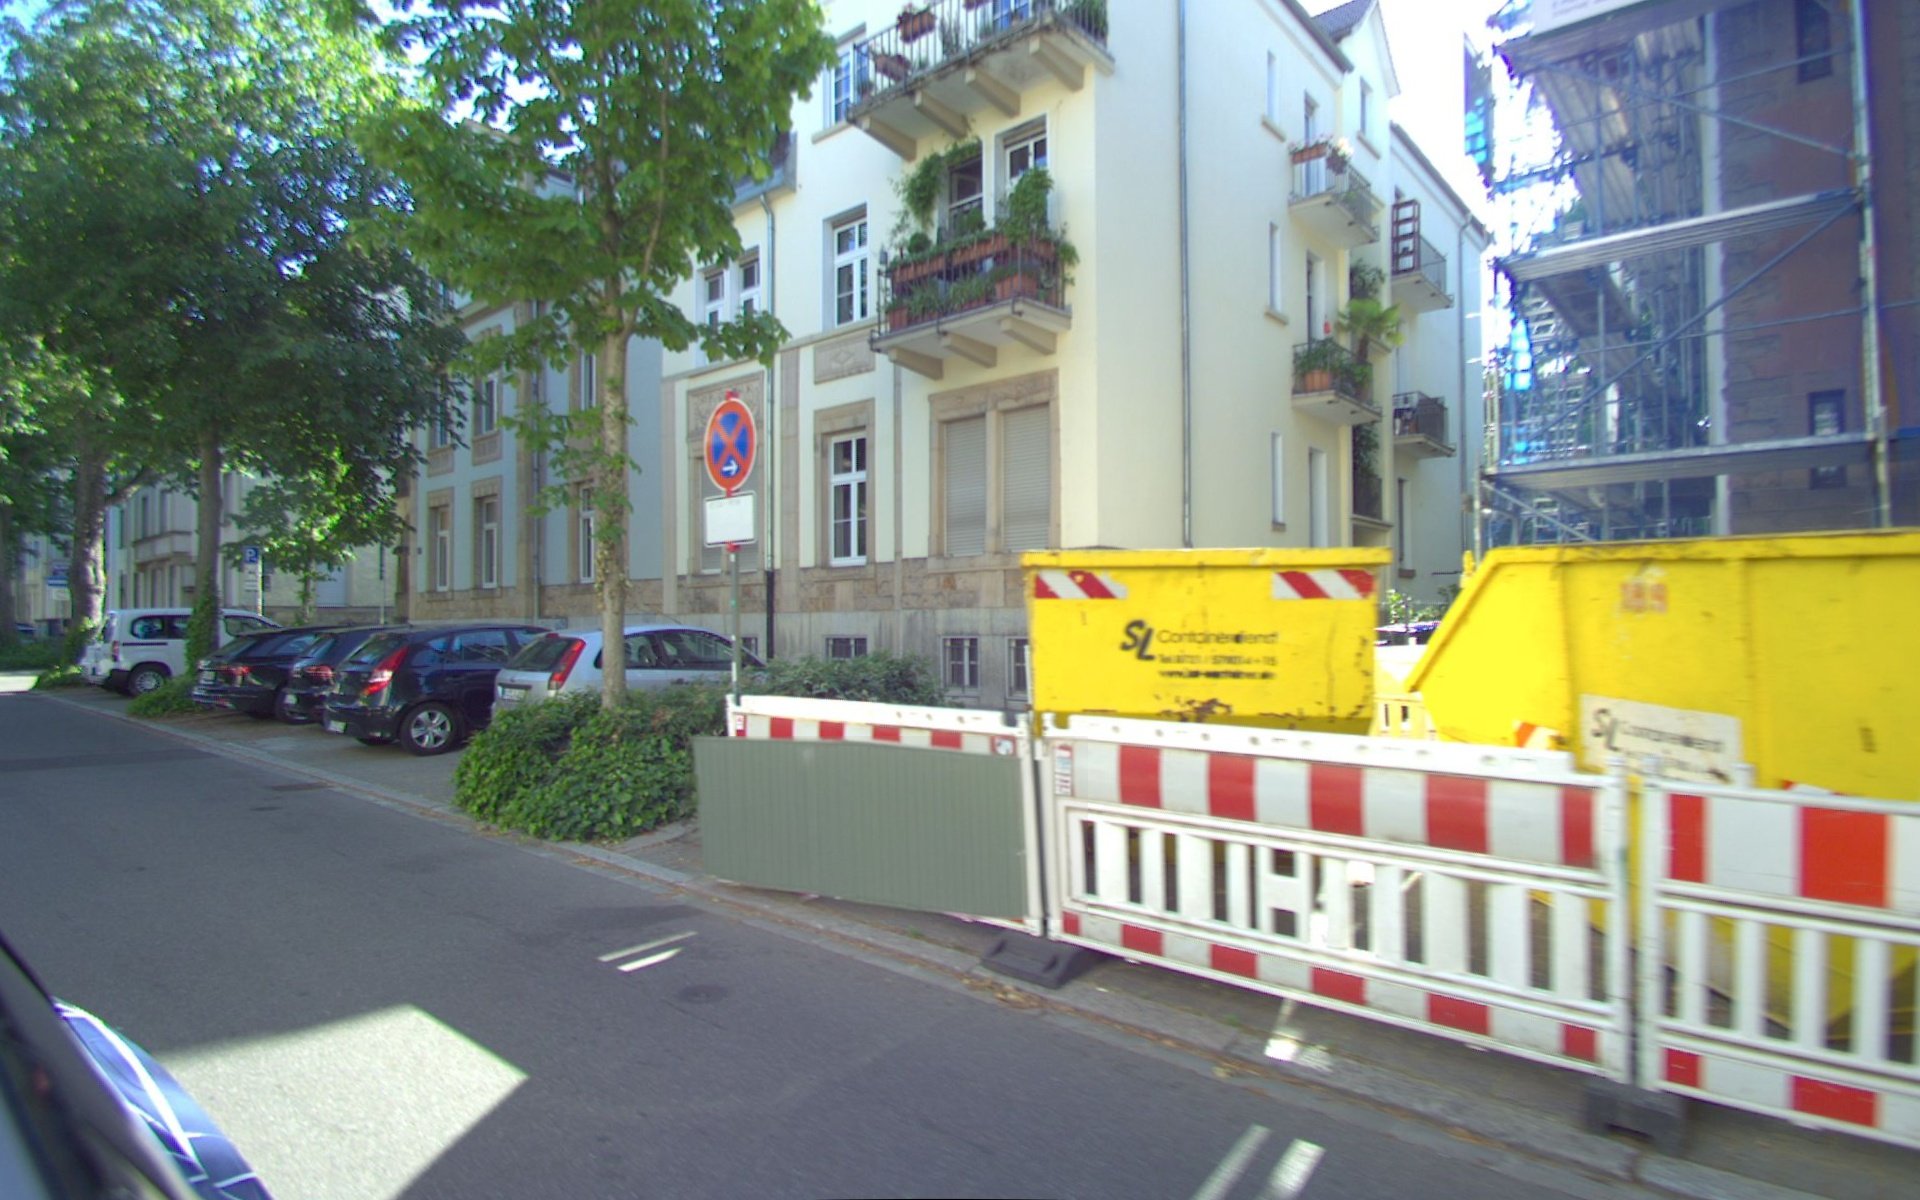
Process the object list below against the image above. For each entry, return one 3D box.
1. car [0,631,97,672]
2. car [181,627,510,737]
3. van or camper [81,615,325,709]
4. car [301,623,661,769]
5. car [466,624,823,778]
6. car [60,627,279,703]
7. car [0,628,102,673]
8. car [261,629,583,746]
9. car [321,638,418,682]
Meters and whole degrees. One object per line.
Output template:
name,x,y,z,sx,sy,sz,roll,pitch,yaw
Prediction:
car,-38.282,2.125,41.805,3.939,1.443,1.806,-2,1,-42
car,-9.505,1.187,15.918,1.709,1.411,4.097,-2,-1,40
van or camper,-16.098,1.259,21.669,1.808,1.787,3.904,-3,-2,40
car,-5.824,1.072,12.603,1.714,1.476,3.686,-3,-2,41
car,-3.457,1.037,11.519,1.695,1.459,3.512,-2,-3,41
car,-17.990,1.422,23.146,1.720,1.528,3.687,-2,-2,39
car,-41.285,2.245,45.522,3.934,1.775,2.005,-1,1,-36
car,-7.531,1.158,14.442,1.645,1.442,3.708,-2,-3,41
car,-22.307,2.239,38.190,4.416,1.566,1.845,-2,-4,42
